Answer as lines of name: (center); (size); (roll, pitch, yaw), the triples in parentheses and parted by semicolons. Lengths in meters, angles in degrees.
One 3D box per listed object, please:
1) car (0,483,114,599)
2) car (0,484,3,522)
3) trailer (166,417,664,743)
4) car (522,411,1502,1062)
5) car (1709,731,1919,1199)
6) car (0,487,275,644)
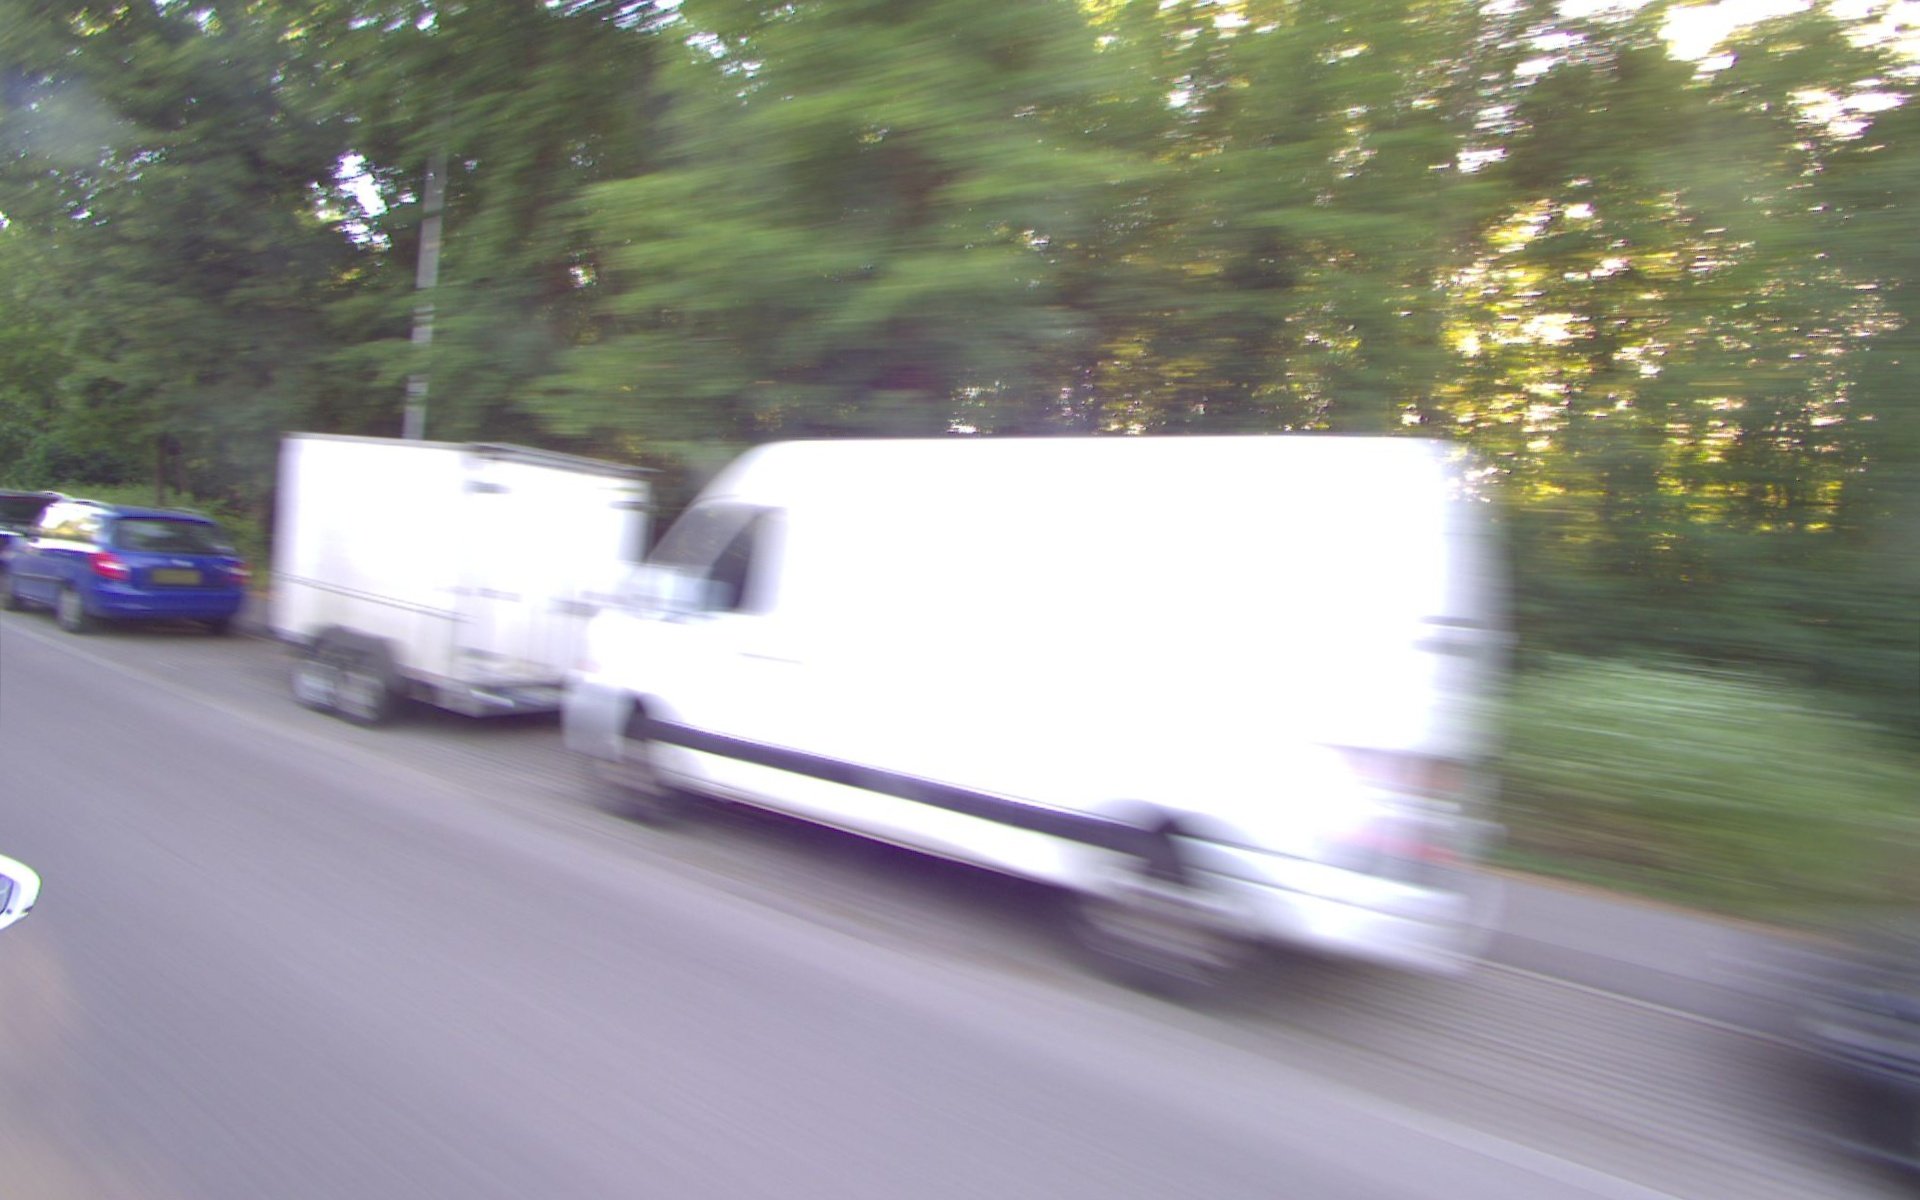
car: (-15.417, -1.077, 15.894); (4.908, 1.555, 1.760); (6, 0, 34)
car: (-20.537, -1.705, 20.008); (3.131, 1.514, 1.585); (6, 1, 36)
trailer: (-5.416, -0.320, 9.726); (5.043, 2.454, 1.905); (6, 1, 33)
car: (-0.040, 0.325, 6.064); (5.485, 2.454, 1.905); (6, 1, 33)
car: (5.102, 1.482, 2.802); (4.574, 1.418, 1.679); (6, 0, 32)
car: (-10.689, -0.485, 12.808); (4.283, 1.555, 1.678); (6, 0, 33)
